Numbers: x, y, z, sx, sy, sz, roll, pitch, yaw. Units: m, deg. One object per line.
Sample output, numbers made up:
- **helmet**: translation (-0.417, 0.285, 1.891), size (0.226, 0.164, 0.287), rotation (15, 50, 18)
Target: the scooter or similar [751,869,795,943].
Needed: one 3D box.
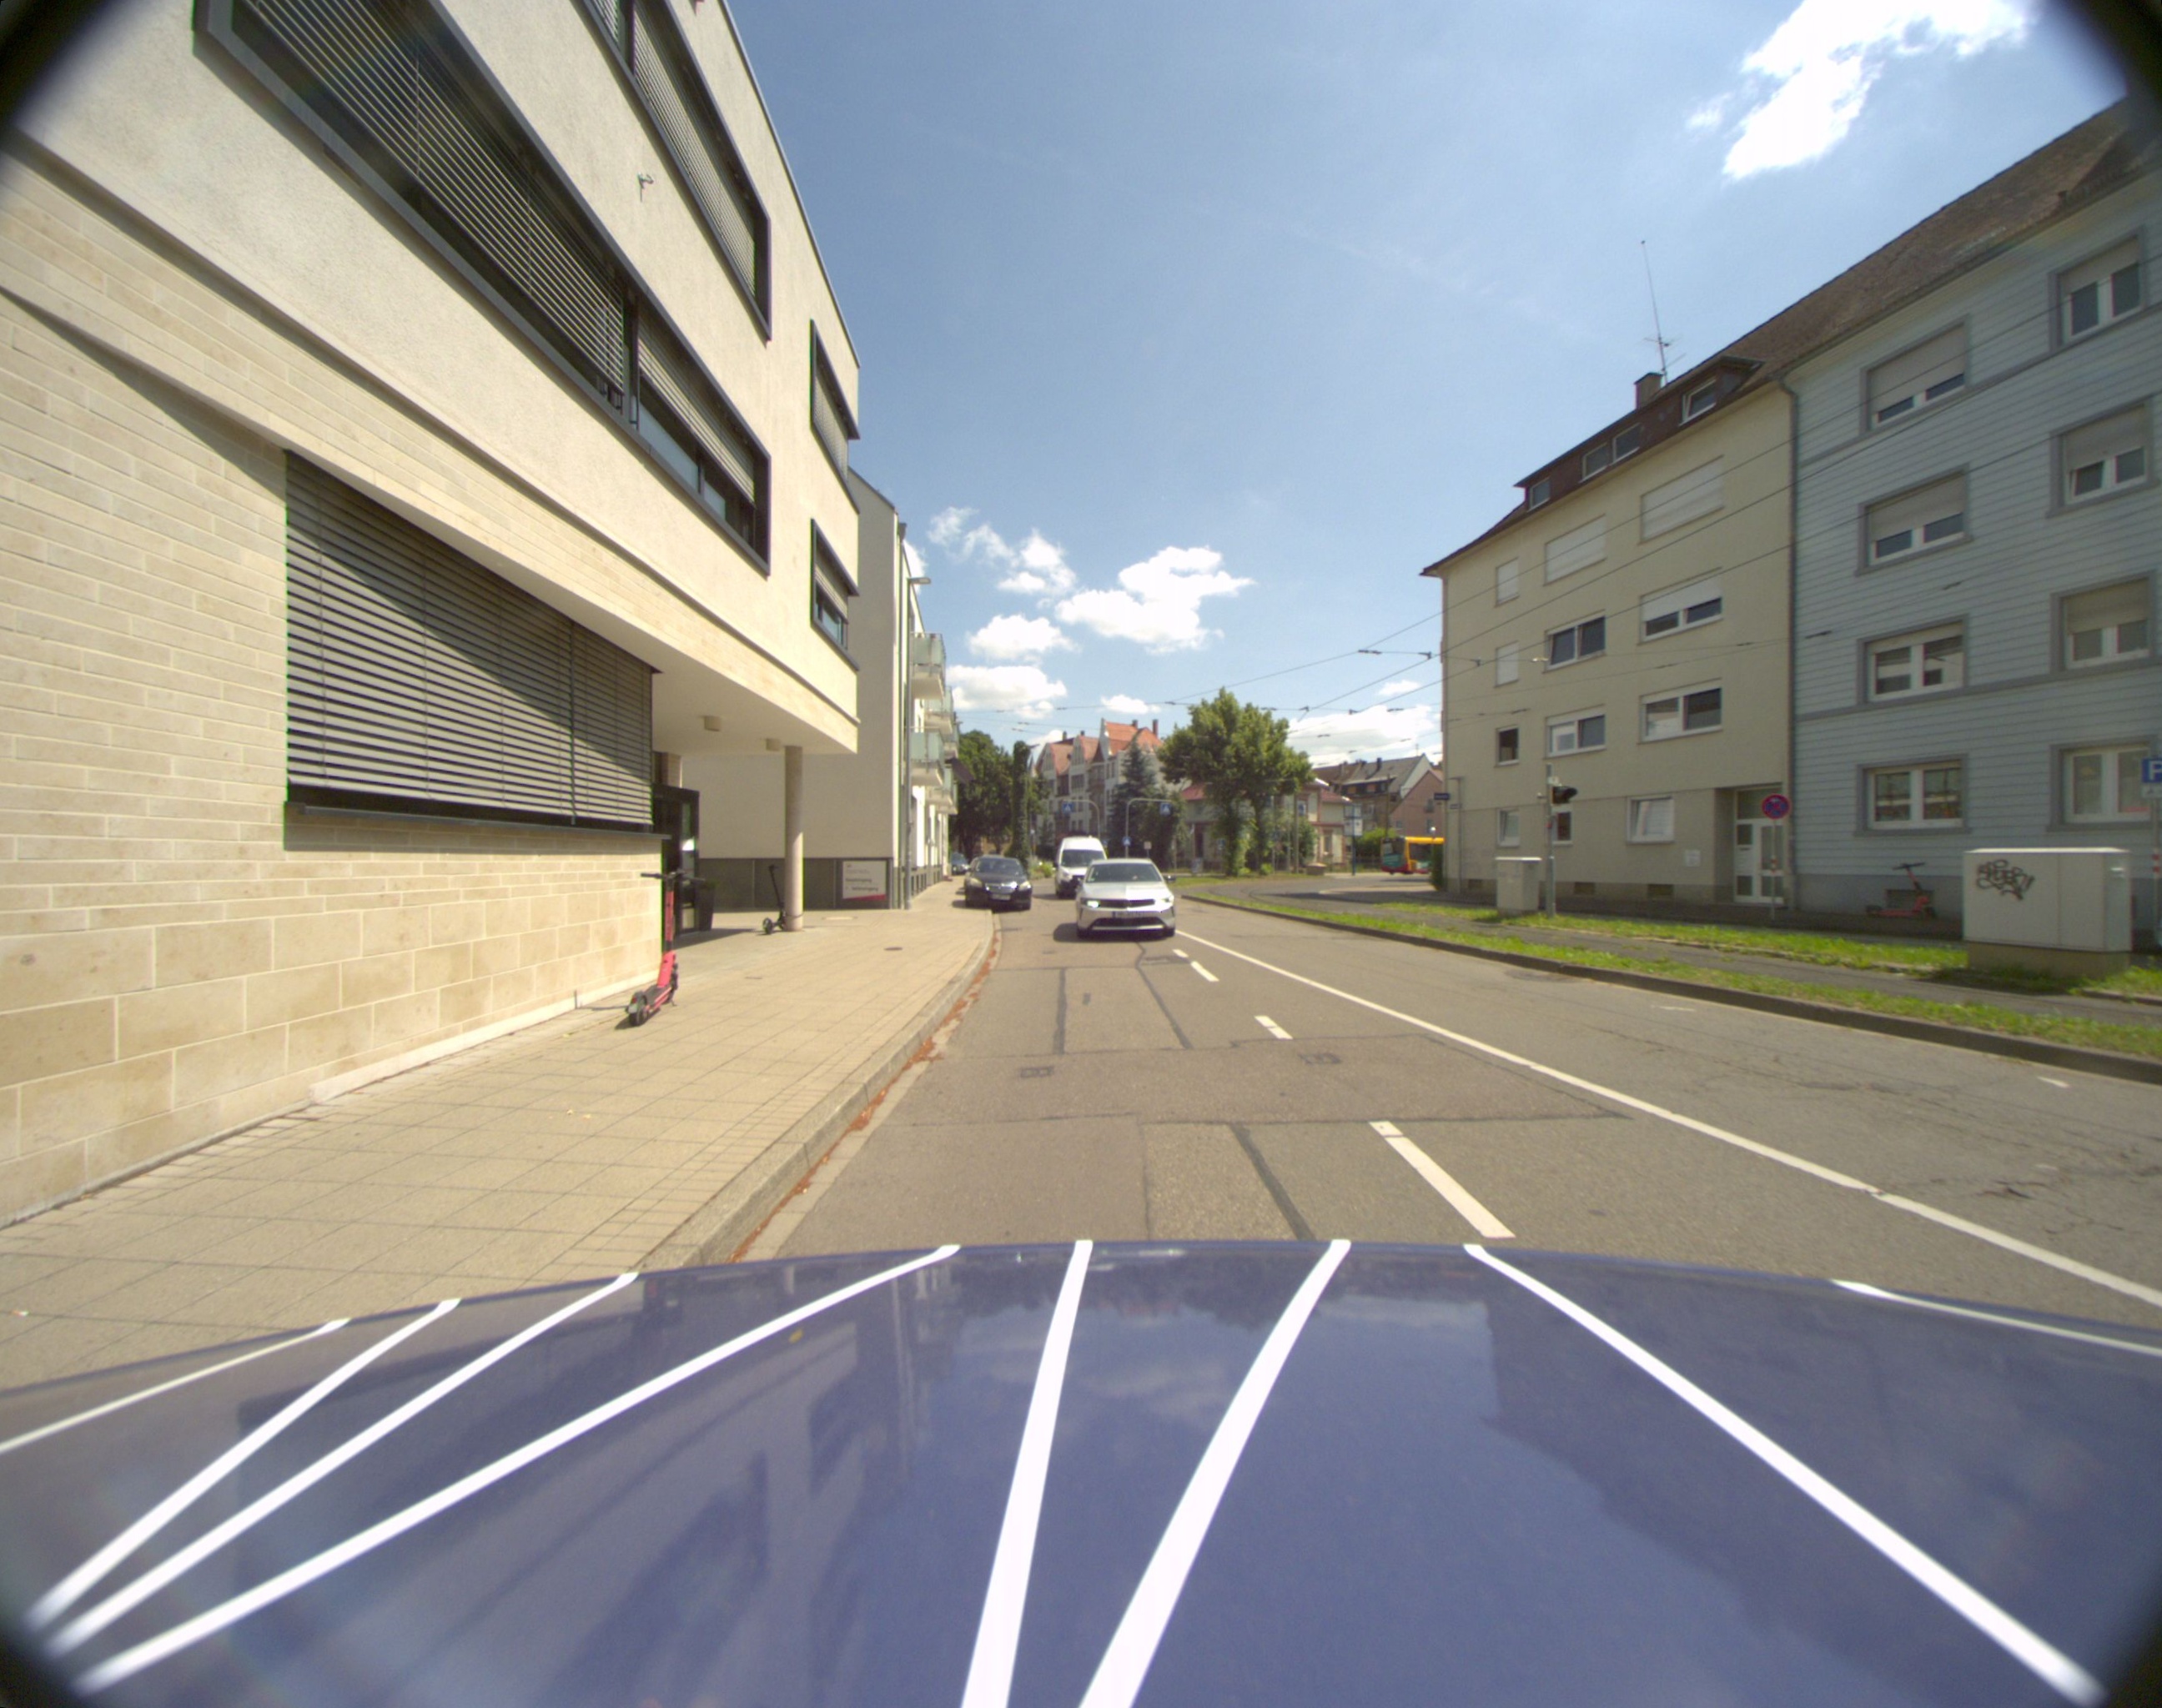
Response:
- **scooter or similar**: translation (-5.349, 0.866, 13.232), size (0.423, 1.204, 1.314), rotation (0, 0, -9)

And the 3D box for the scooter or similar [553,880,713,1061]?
- **scooter or similar**: translation (-3.569, 0.874, 6.176), size (0.583, 1.253, 1.366), rotation (2, 0, -7)

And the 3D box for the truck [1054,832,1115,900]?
- **truck**: translation (0.113, 0.380, 28.375), size (2.020, 2.236, 5.407), rotation (-1, 1, 0)

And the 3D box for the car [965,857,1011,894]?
- **car**: translation (-4.179, 0.938, 34.574), size (1.732, 1.424, 4.041), rotation (4, 0, -4)

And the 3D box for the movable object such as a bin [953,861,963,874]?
- **movable object such as a bin**: translation (-9.543, 1.045, 58.803), size (0.616, 0.955, 0.635), rotation (0, 0, 9)

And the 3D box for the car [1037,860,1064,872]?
- **car**: translation (-3.610, 1.407, 88.234), size (1.821, 1.319, 3.992), rotation (1, -1, -23)

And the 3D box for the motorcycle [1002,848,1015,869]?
- **motorcycle**: translation (-4.833, 0.291, 50.767), size (0.802, 1.344, 2.337), rotation (0, 0, -3)

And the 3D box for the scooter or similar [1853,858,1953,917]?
- **scooter or similar**: translation (17.788, 0.697, 16.472), size (0.640, 1.216, 1.319), rotation (-1, 0, -13)

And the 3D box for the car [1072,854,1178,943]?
- **car**: translation (0.878, 0.768, 15.079), size (1.800, 1.458, 4.172), rotation (0, 1, 4)

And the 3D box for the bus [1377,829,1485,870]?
- **bus**: translation (30.354, -0.296, 65.614), size (10.877, 3.277, 2.702), rotation (1, -1, -30)

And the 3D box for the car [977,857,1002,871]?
- **car**: translation (-12.951, 1.406, 107.516), size (1.779, 1.604, 3.864), rotation (7, -3, -35)

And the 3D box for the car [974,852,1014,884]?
- **car**: translation (-4.782, 0.721, 42.271), size (1.731, 1.601, 3.799), rotation (2, 1, -1)

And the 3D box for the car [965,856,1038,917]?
- **car**: translation (-2.461, 0.889, 22.644), size (1.806, 1.500, 4.543), rotation (4, 0, -9)

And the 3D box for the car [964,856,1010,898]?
- **car**: translation (-3.672, 0.842, 29.590), size (1.598, 1.424, 3.703), rotation (4, 0, -8)

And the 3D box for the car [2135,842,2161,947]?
- **car**: translation (16.243, 0.590, 8.756), size (1.935, 1.443, 4.370), rotation (3, -1, -15)

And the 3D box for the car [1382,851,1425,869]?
- **car**: translation (29.681, 0.572, 69.913), size (3.754, 1.455, 1.775), rotation (1, -3, -31)
